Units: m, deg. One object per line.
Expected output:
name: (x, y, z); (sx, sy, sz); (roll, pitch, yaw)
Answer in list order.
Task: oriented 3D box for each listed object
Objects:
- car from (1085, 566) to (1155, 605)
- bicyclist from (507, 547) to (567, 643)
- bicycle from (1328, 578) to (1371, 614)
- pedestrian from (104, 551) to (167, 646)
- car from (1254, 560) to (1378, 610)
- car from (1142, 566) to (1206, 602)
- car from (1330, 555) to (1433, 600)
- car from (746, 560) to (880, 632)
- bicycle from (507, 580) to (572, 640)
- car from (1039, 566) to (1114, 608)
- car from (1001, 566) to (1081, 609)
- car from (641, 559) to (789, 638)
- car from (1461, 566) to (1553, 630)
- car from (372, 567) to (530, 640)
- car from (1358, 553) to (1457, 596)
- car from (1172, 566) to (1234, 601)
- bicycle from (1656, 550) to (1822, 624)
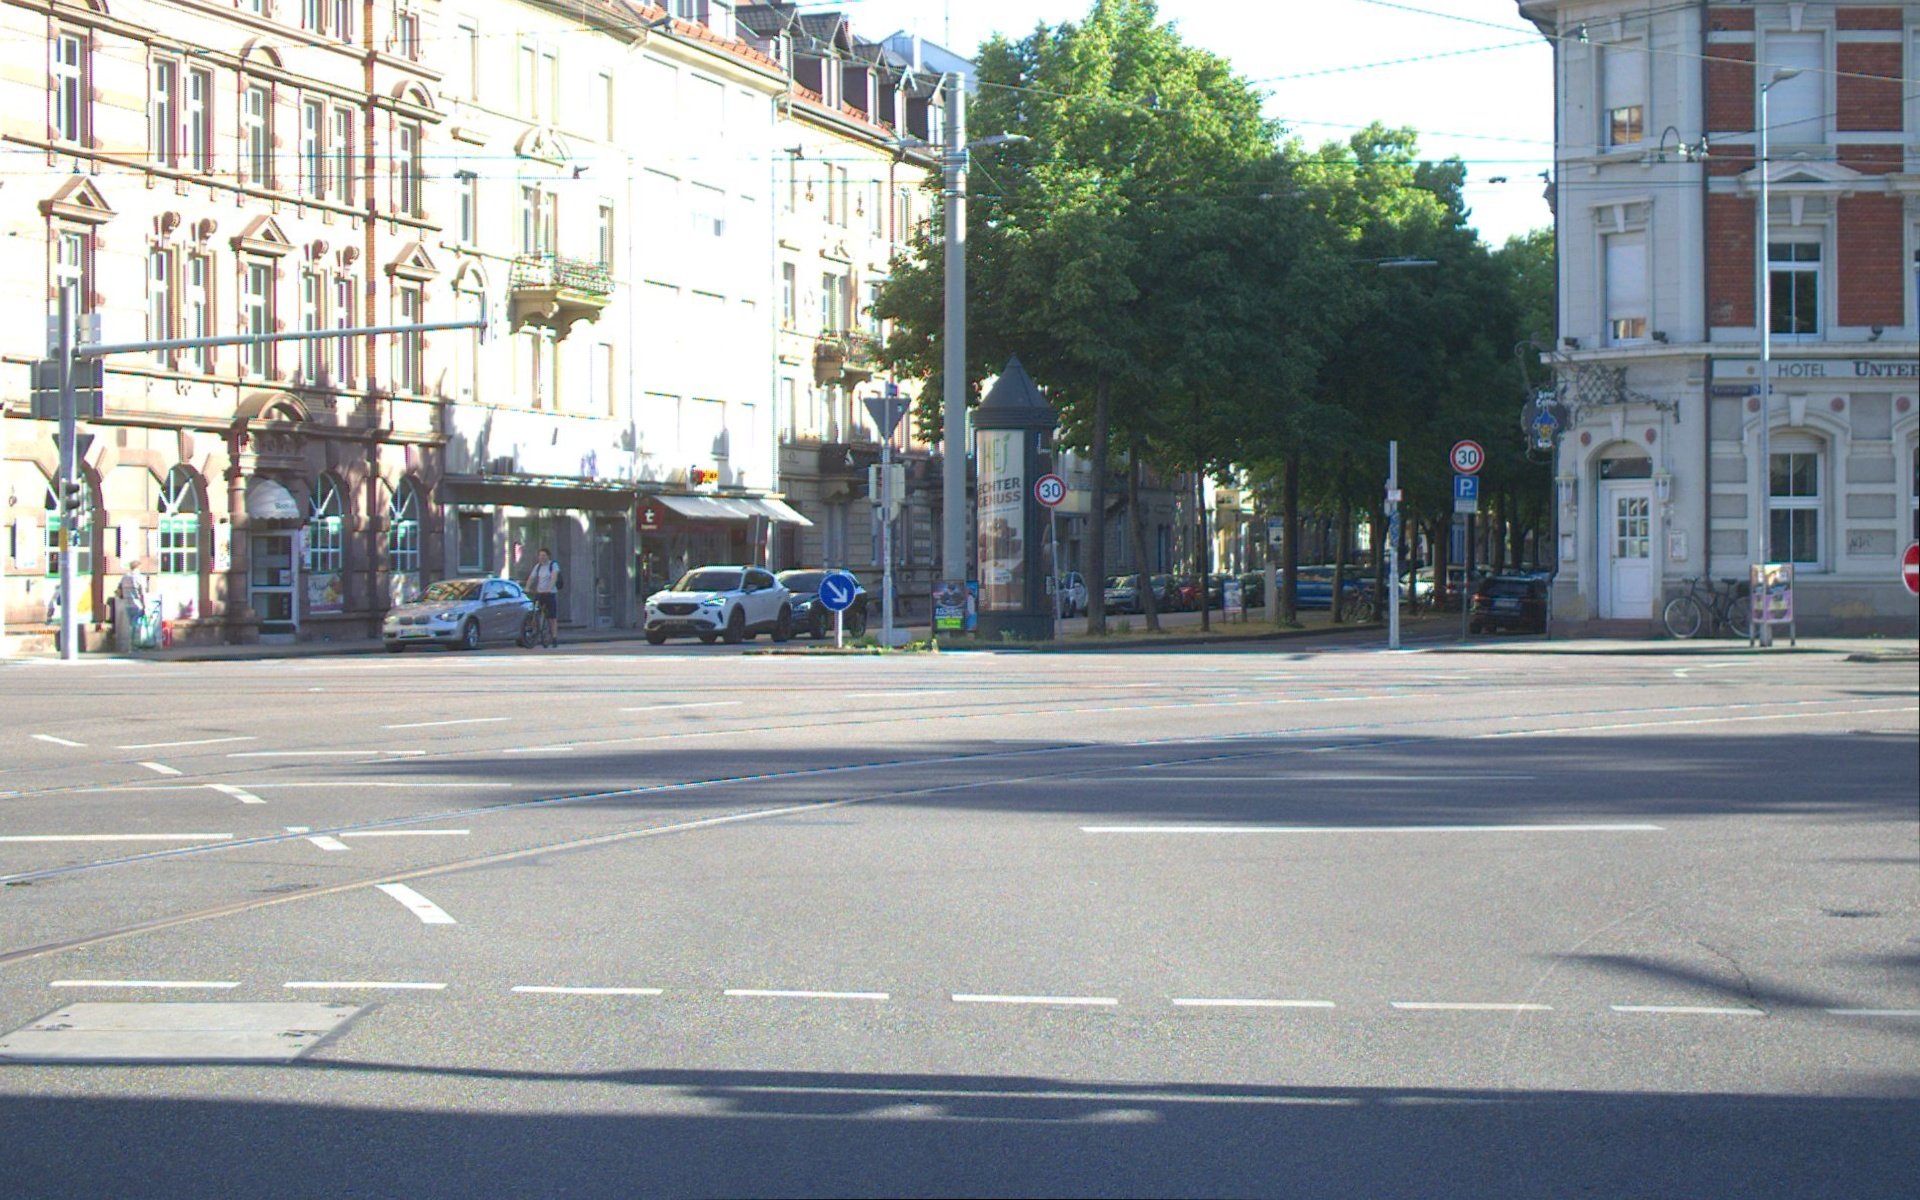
car: (5.708, -0.521, 122.442); (1.678, 1.349, 3.588); (0, 1, 17)
bicyclist: (-8.012, -0.091, 65.140); (0.779, 1.797, 1.055); (1, 0, 14)
bicycle: (11.264, -0.109, 99.485); (0.636, 1.018, 1.847); (1, 1, -14)
pedestrian: (-14.685, -0.036, 61.234); (0.776, 1.664, 0.830); (1, 0, 15)
car: (11.995, -0.515, 115.679); (3.905, 1.642, 1.681); (0, 1, 17)
car: (8.144, -0.620, 130.749); (1.678, 1.349, 3.588); (0, 1, 17)
car: (15.717, -0.852, 128.034); (3.582, 1.642, 1.681); (0, 1, 17)
car: (-3.117, -0.106, 73.617); (1.678, 1.478, 3.945); (0, 1, 17)
bicycle: (-7.977, 0.181, 65.267); (0.702, 1.114, 1.634); (1, 1, 13)
car: (3.937, -0.449, 115.481); (1.678, 1.349, 3.588); (0, 1, 17)
car: (2.639, -0.405, 111.324); (1.678, 1.349, 3.588); (0, 1, 17)
car: (-4.759, -0.056, 67.315); (1.678, 1.478, 3.768); (0, 1, 17)
car: (13.152, -0.062, 82.575); (1.678, 1.478, 3.945); (0, 1, 17)
car: (-9.870, 0.052, 66.911); (1.678, 1.349, 3.588); (0, 1, 17)
car: (17.391, -1.007, 133.508); (3.582, 1.642, 1.681); (0, 1, 17)
car: (9.616, -0.659, 135.779); (1.678, 1.349, 3.588); (0, 1, 17)
bicycle: (12.971, -0.212, 57.277); (2.554, 1.170, 0.819); (1, 0, -3)
